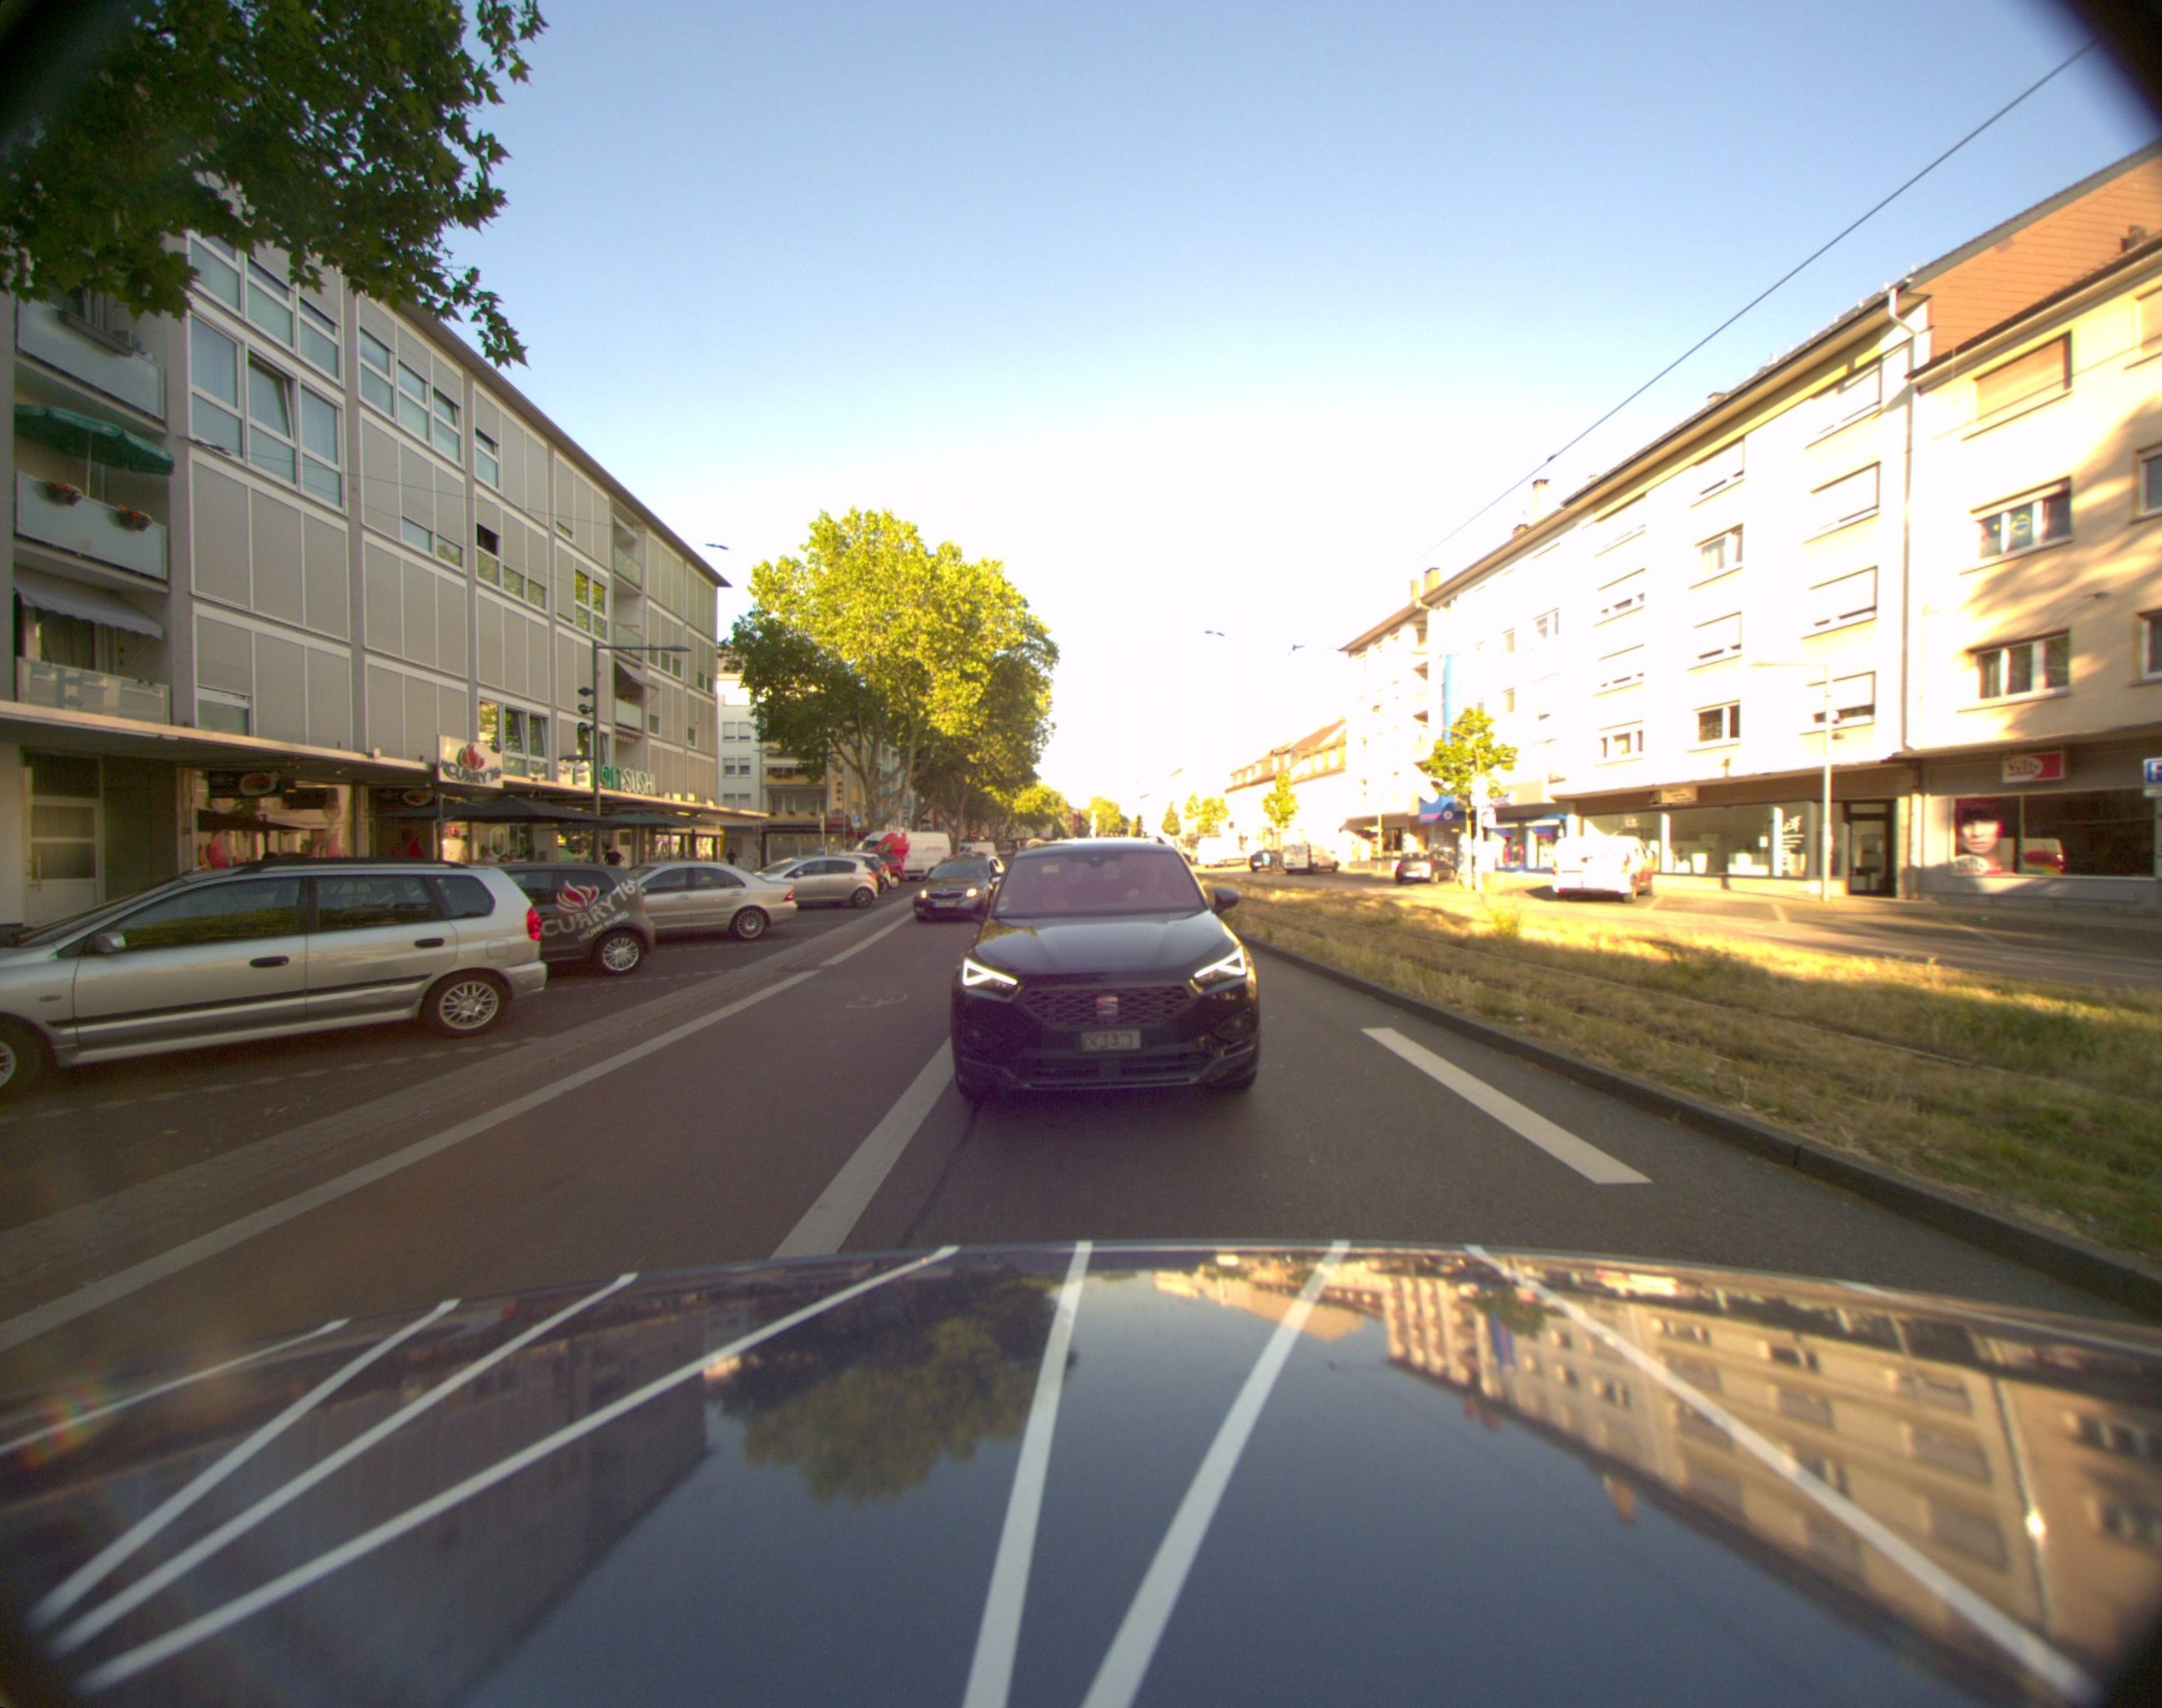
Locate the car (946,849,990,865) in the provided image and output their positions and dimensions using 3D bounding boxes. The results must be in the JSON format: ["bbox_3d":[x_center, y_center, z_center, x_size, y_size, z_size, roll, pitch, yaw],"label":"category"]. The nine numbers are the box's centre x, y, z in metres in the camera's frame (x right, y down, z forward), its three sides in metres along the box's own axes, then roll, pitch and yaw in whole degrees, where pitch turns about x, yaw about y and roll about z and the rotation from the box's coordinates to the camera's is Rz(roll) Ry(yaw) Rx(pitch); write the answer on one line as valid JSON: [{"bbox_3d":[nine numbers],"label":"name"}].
[{"bbox_3d":[-10.820,0.268,72.937,1.778,1.396,3.943,1,1,44],"label":"car"}]

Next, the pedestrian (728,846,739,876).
[{"bbox_3d":[-20.090,0.424,43.929,0.481,1.720,0.347,-1,1,-38],"label":"pedestrian"}]

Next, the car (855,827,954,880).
[{"bbox_3d":[-8.727,-0.001,37.833,4.606,2.479,1.672,0,-1,-44],"label":"car"}]

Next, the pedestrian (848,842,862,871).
[{"bbox_3d":[-15.687,0.181,52.782,0.748,2.002,0.764,0,1,-4],"label":"pedestrian"}]

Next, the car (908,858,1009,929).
[{"bbox_3d":[-2.900,0.873,18.838,1.728,1.443,4.228,-2,1,0],"label":"car"}]

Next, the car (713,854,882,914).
[{"bbox_3d":[-7.564,0.773,20.518,3.950,1.420,1.555,1,1,-45],"label":"car"}]

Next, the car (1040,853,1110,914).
[{"bbox_3d":[-0.162,0.756,21.395,1.729,1.467,3.999,-2,1,-1],"label":"car"}]

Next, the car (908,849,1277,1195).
[{"bbox_3d":[0.084,0.833,5.796,1.785,1.639,3.999,-2,1,1],"label":"car"}]

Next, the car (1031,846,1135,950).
[{"bbox_3d":[0.015,0.699,14.430,1.646,1.646,3.999,-2,1,-1],"label":"car"}]

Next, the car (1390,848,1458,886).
[{"bbox_3d":[15.406,0.543,34.037,1.731,1.489,4.008,-1,1,40],"label":"car"}]

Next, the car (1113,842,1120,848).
[{"bbox_3d":[9.764,-2.416,208.885,1.845,1.571,4.450,0,1,0],"label":"car"}]

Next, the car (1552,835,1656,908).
[{"bbox_3d":[15.570,0.440,22.549,1.853,1.888,4.007,-1,2,44],"label":"car"}]

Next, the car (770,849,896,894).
[{"bbox_3d":[-8.868,0.633,27.250,3.948,1.421,1.672,2,2,-32],"label":"car"}]

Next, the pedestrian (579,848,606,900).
[{"bbox_3d":[-15.619,0.635,24.310,0.537,1.630,0.478,0,1,-4],"label":"pedestrian"}]

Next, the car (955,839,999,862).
[{"bbox_3d":[-11.615,-0.426,85.028,1.973,2.454,4.605,1,1,44],"label":"car"}]

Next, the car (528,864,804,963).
[{"bbox_3d":[-7.116,0.916,13.343,1.592,1.393,3.950,2,1,41],"label":"car"}]

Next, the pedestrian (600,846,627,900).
[{"bbox_3d":[-14.972,0.603,24.340,0.545,1.710,0.457,0,1,-4],"label":"pedestrian"}]

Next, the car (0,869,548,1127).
[{"bbox_3d":[-6.876,0.940,6.049,1.672,1.533,3.993,2,1,38],"label":"car"}]

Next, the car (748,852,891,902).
[{"bbox_3d":[-8.246,0.720,24.068,3.949,1.420,1.672,1,1,-34],"label":"car"}]

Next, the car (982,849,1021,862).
[{"bbox_3d":[-8.605,0.147,82.710,1.778,1.326,3.943,0,1,44],"label":"car"}]

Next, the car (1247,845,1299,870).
[{"bbox_3d":[13.802,0.228,54.519,3.922,1.704,1.853,-3,1,-45],"label":"car"}]

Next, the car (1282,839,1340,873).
[{"bbox_3d":[14.528,0.096,47.831,1.853,1.927,4.513,-1,1,40],"label":"car"}]

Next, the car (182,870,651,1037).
[{"bbox_3d":[-7.588,0.957,9.038,1.672,1.420,3.950,2,1,38],"label":"car"}]

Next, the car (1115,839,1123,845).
[{"bbox_3d":[11.525,-3.649,230.526,1.999,1.783,3.998,0,1,-4],"label":"car"}]

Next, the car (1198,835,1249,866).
[{"bbox_3d":[12.950,-0.378,68.625,1.922,2.599,6.601,-1,1,34],"label":"car"}]

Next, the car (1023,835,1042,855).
[{"bbox_3d":[-7.807,-1.465,123.378,2.660,2.989,7.131,-2,1,-2],"label":"car"}]

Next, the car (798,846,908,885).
[{"bbox_3d":[-9.156,0.455,30.537,3.948,1.421,1.672,2,2,-30],"label":"car"}]

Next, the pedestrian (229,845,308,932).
[{"bbox_3d":[-15.138,0.628,14.176,0.583,1.573,0.771,0,1,2],"label":"pedestrian"}]

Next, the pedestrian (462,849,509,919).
[{"bbox_3d":[-13.545,0.663,17.304,0.561,1.567,0.642,0,1,-5],"label":"pedestrian"}]
